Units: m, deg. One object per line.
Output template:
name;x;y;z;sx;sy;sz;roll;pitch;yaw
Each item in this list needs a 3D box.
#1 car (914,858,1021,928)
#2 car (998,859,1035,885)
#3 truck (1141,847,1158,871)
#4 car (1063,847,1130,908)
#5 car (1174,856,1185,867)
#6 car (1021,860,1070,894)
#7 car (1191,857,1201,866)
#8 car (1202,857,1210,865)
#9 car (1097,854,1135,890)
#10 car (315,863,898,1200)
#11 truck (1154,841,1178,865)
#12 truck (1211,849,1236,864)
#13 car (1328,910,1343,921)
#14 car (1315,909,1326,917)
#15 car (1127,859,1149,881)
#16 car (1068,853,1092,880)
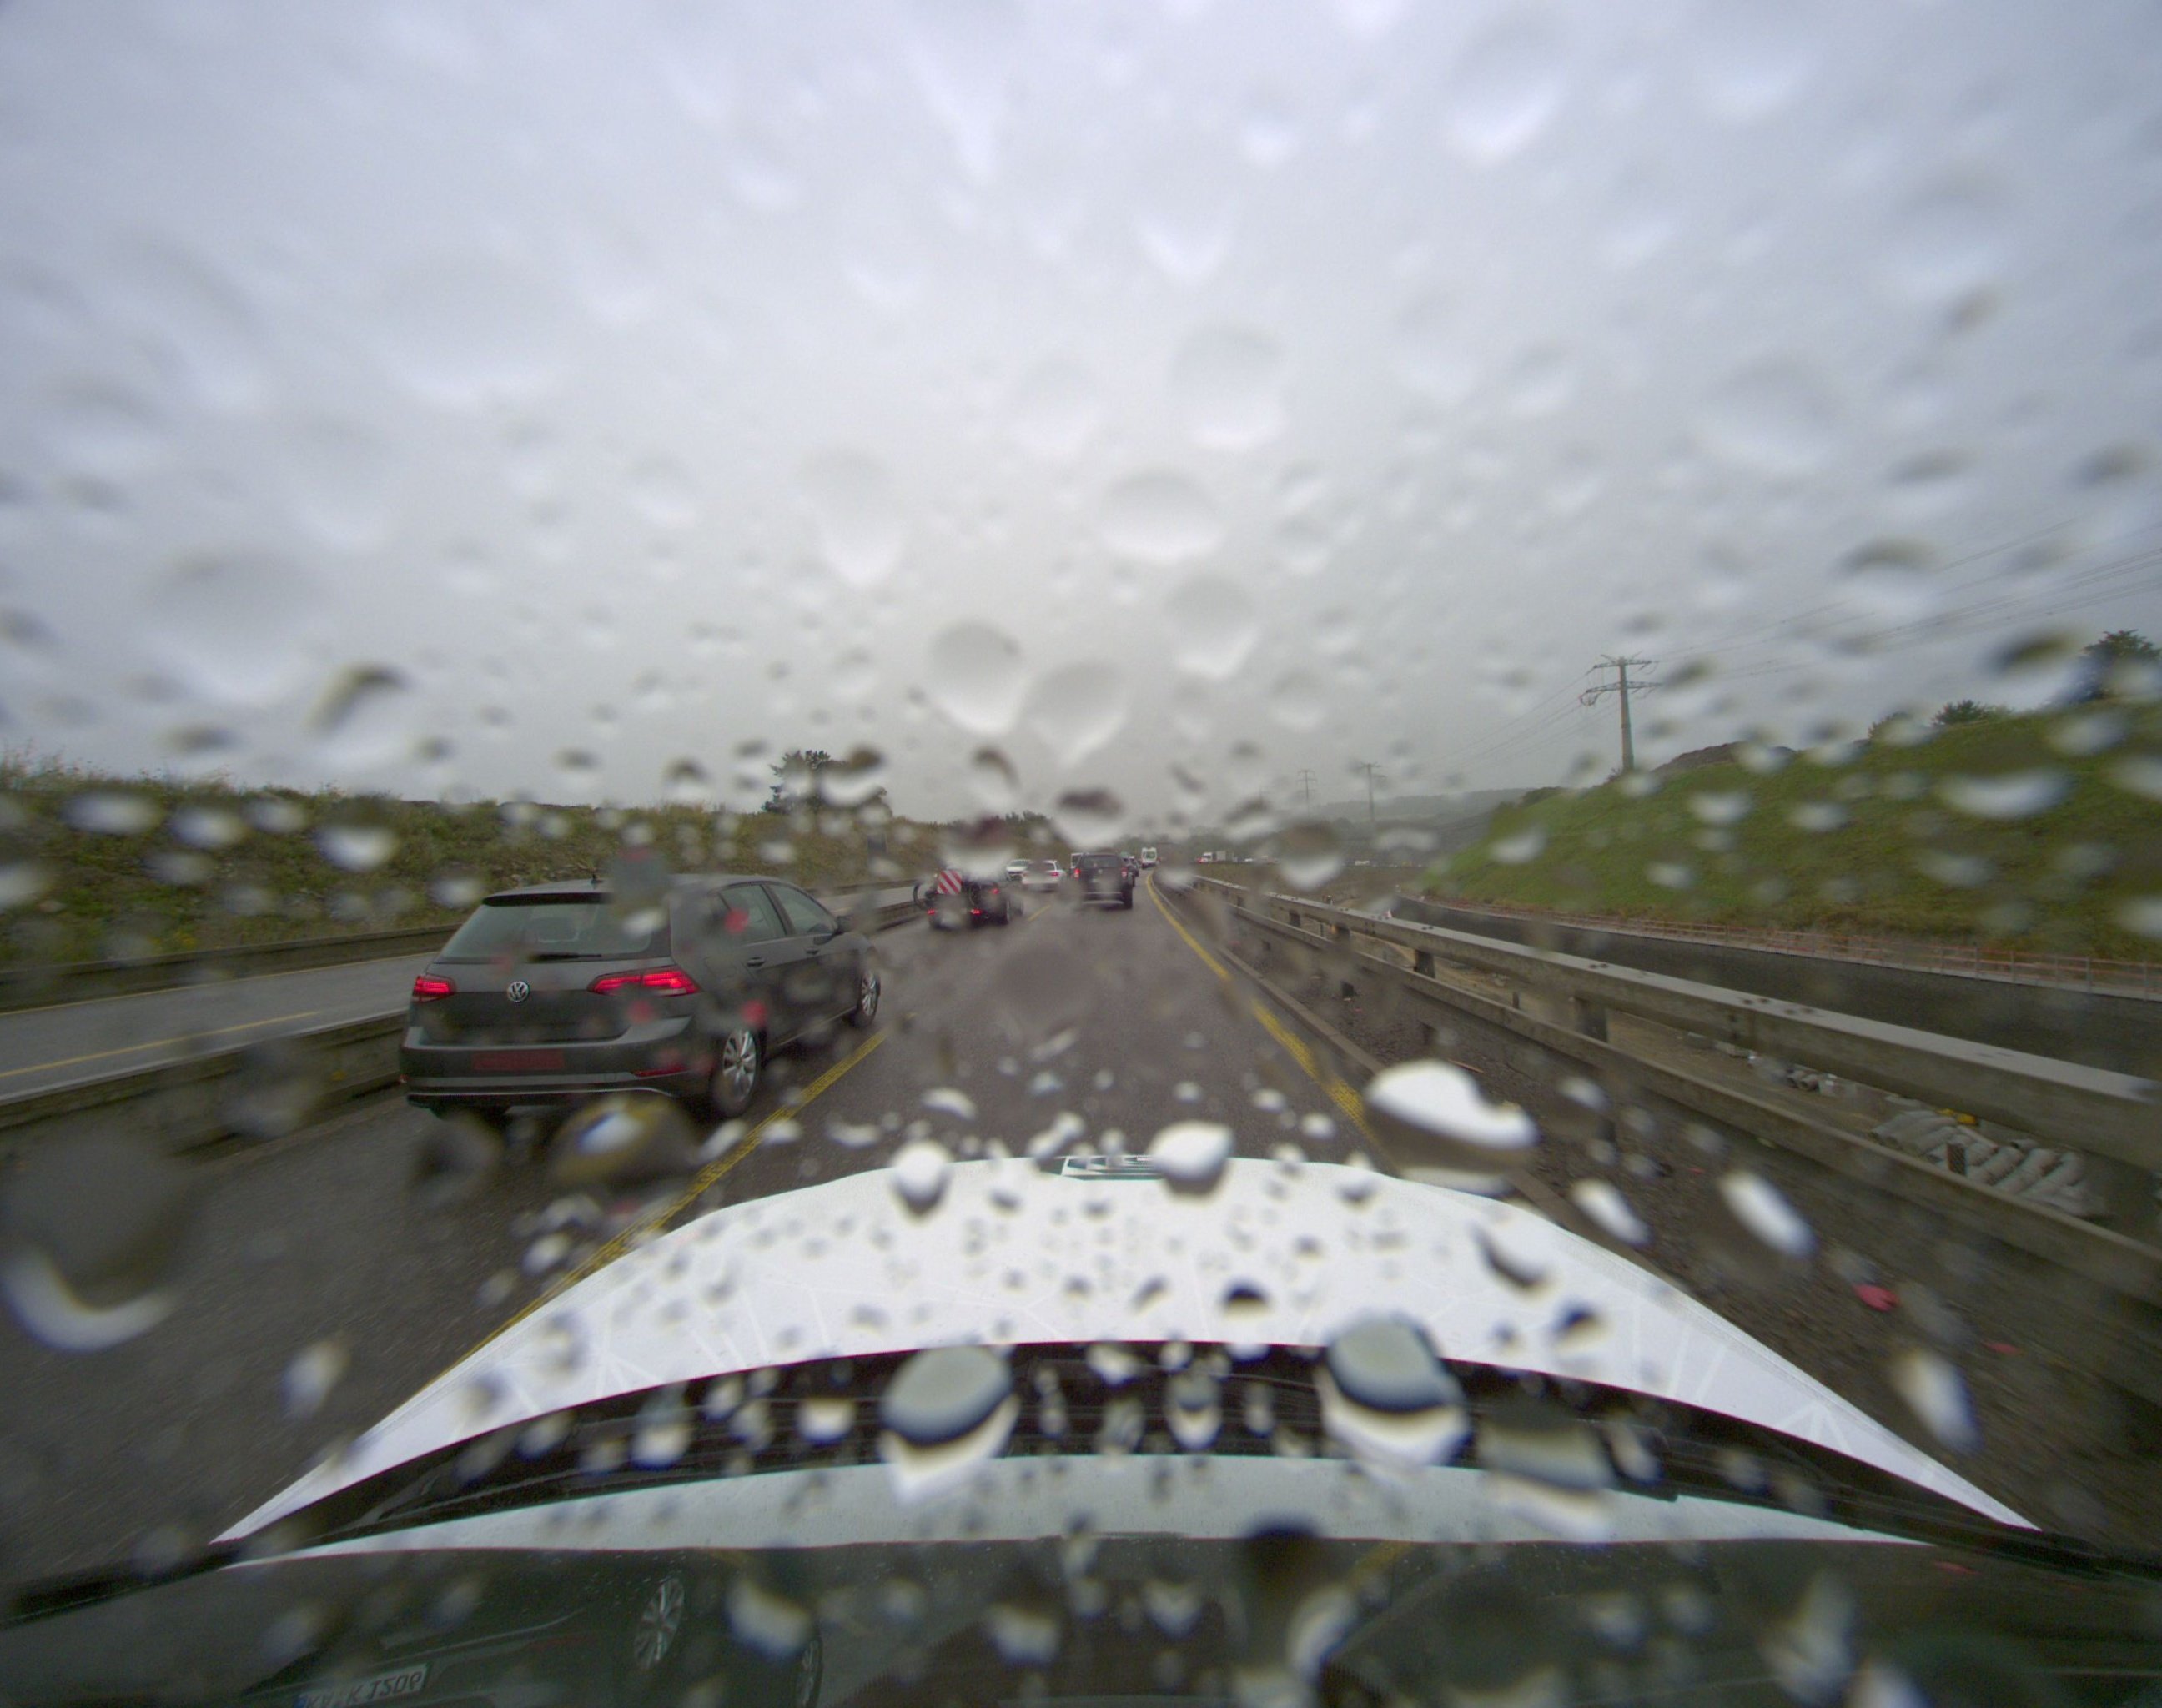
car;-2.580;0.855;19.376;1.821;1.476;3.779;-1;-1;3
car;-4.315;1.176;55.292;2.039;1.633;4.988;-1;-1;0
truck;9.002;0.655;107.642;2.140;3.166;6.465;0;0;3
car;0.536;0.669;24.254;1.797;1.646;3.779;-1;-1;3
car;17.528;1.407;144.783;1.763;1.916;4.012;0;0;11
car;-1.556;1.003;37.412;1.860;1.460;4.550;0;0;2
car;23.435;1.539;165.604;1.763;1.916;4.012;0;0;11
car;29.141;1.690;189.759;1.763;1.916;4.012;0;0;11
car;1.786;0.886;41.298;1.860;1.708;4.003;0;0;2
car;-2.743;0.866;6.037;1.608;1.506;4.369;-2;-1;1
truck;14.167;-0.110;135.267;3.180;3.761;8.534;0;0;11
truck;40.880;0.856;233.430;4.679;4.150;15.758;0;0;19
car;54.188;13.046;173.616;2.352;2.014;4.009;0;0;8
car;56.268;13.853;191.241;1.981;1.816;4.011;-1;-1;10
car;4.325;1.169;62.181;1.525;1.640;4.013;0;0;1
car;-0.039;0.905;59.880;1.654;1.880;4.020;0;0;1
